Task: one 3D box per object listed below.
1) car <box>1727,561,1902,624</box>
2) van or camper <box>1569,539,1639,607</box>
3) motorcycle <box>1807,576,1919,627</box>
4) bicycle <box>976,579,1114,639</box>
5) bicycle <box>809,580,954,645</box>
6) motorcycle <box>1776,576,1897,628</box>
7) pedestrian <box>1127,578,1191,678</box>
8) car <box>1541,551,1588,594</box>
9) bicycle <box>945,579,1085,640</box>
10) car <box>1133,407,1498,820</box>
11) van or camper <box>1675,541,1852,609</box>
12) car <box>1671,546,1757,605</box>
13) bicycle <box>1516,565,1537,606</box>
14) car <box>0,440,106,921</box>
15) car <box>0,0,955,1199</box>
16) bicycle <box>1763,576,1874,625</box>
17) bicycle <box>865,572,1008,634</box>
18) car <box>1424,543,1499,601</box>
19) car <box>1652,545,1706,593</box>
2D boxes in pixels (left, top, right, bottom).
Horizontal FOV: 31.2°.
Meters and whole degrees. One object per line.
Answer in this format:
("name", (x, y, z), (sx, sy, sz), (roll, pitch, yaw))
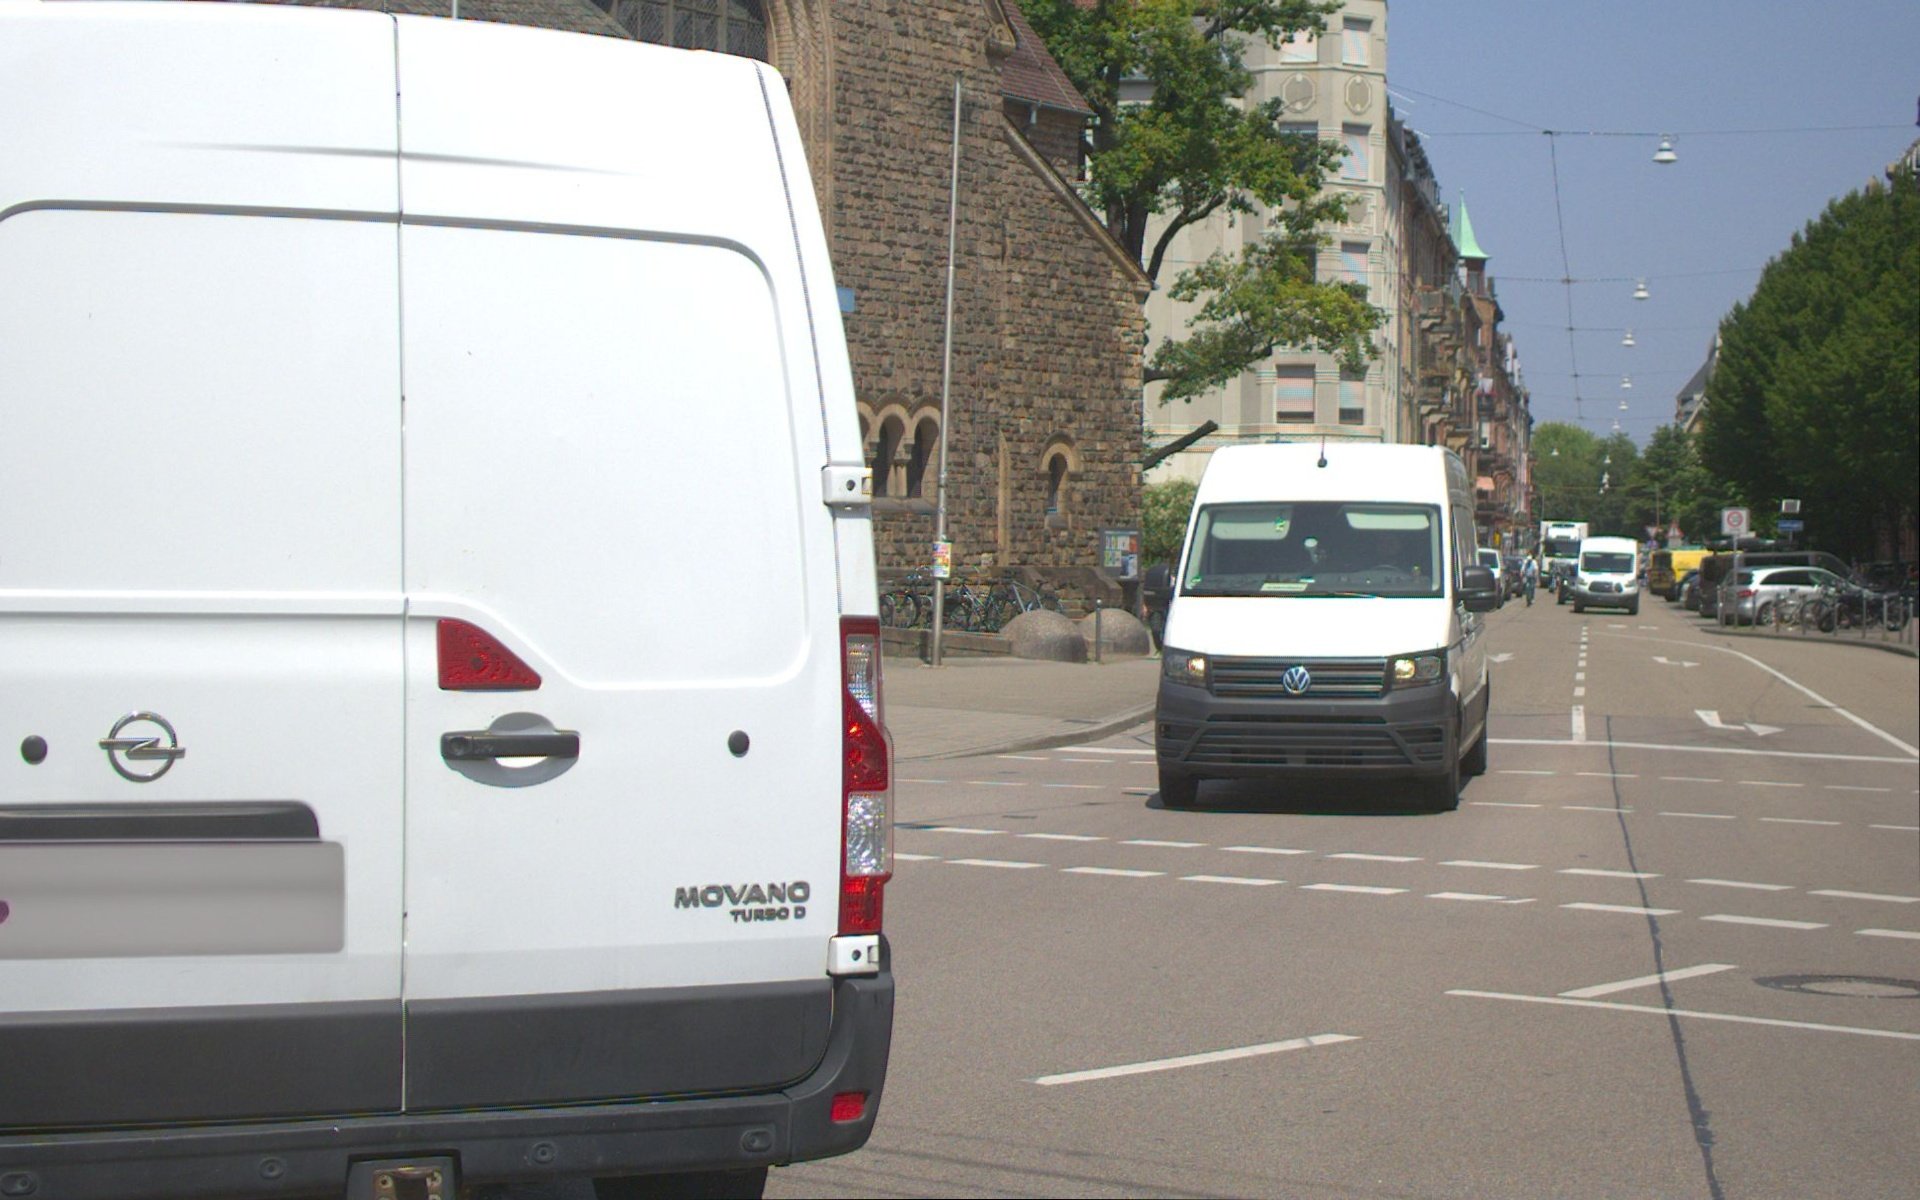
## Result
("car", (21.958, -0.192, 88.418), (3.986, 1.543, 1.750), (1, 0, -13))
("van or camper", (20.800, -0.902, 111.173), (2.036, 2.134, 4.578), (1, 1, 8))
("motorcycle", (21.350, 0.031, 81.195), (2.592, 1.170, 0.682), (1, 0, 13))
("bicycle", (1.491, 0.152, 60.731), (2.496, 1.008, 0.705), (1, 1, 37))
("bicycle", (-1.307, 0.197, 56.629), (2.496, 1.008, 0.705), (1, 1, 38))
("motorcycle", (20.475, 0.052, 80.338), (2.711, 1.170, 0.775), (1, 0, 13))
("pedestrian", (3.140, 0.431, 54.134), (0.719, 1.553, 0.790), (1, 0, 29))
("car", (28.569, -1.291, 162.435), (1.994, 2.007, 3.998), (1, 0, 12))
("bicycle", (0.952, 0.162, 59.890), (2.496, 1.008, 0.705), (1, 1, 37))
("car", (2.786, 0.027, 25.385), (2.071, 2.628, 6.631), (1, 1, 11))
("van or camper", (22.123, -0.686, 94.696), (4.311, 1.831, 2.001), (0, 1, -16))
("car", (23.004, -0.766, 105.012), (1.954, 1.744, 4.000), (0, 1, 4))
("bicycle", (19.523, -0.503, 118.459), (0.673, 1.354, 2.068), (1, 1, 8))
("car", (-5.401, 0.296, 15.436), (1.916, 1.937, 4.264), (1, 0, -30))
("car", (-2.006, 0.154, 8.359), (2.116, 2.450, 5.055), (1, 0, -24))
("bicycle", (21.135, 0.006, 84.675), (2.589, 1.170, 0.683), (1, 0, -12))
("bicycle", (-0.402, 0.048, 58.099), (2.496, 1.008, 0.705), (1, 0, 37))
("car", (15.368, -0.877, 105.483), (1.954, 1.744, 4.000), (0, 1, 4))
("car", (30.548, -1.316, 146.084), (1.908, 2.007, 3.997), (0, 0, 17))
